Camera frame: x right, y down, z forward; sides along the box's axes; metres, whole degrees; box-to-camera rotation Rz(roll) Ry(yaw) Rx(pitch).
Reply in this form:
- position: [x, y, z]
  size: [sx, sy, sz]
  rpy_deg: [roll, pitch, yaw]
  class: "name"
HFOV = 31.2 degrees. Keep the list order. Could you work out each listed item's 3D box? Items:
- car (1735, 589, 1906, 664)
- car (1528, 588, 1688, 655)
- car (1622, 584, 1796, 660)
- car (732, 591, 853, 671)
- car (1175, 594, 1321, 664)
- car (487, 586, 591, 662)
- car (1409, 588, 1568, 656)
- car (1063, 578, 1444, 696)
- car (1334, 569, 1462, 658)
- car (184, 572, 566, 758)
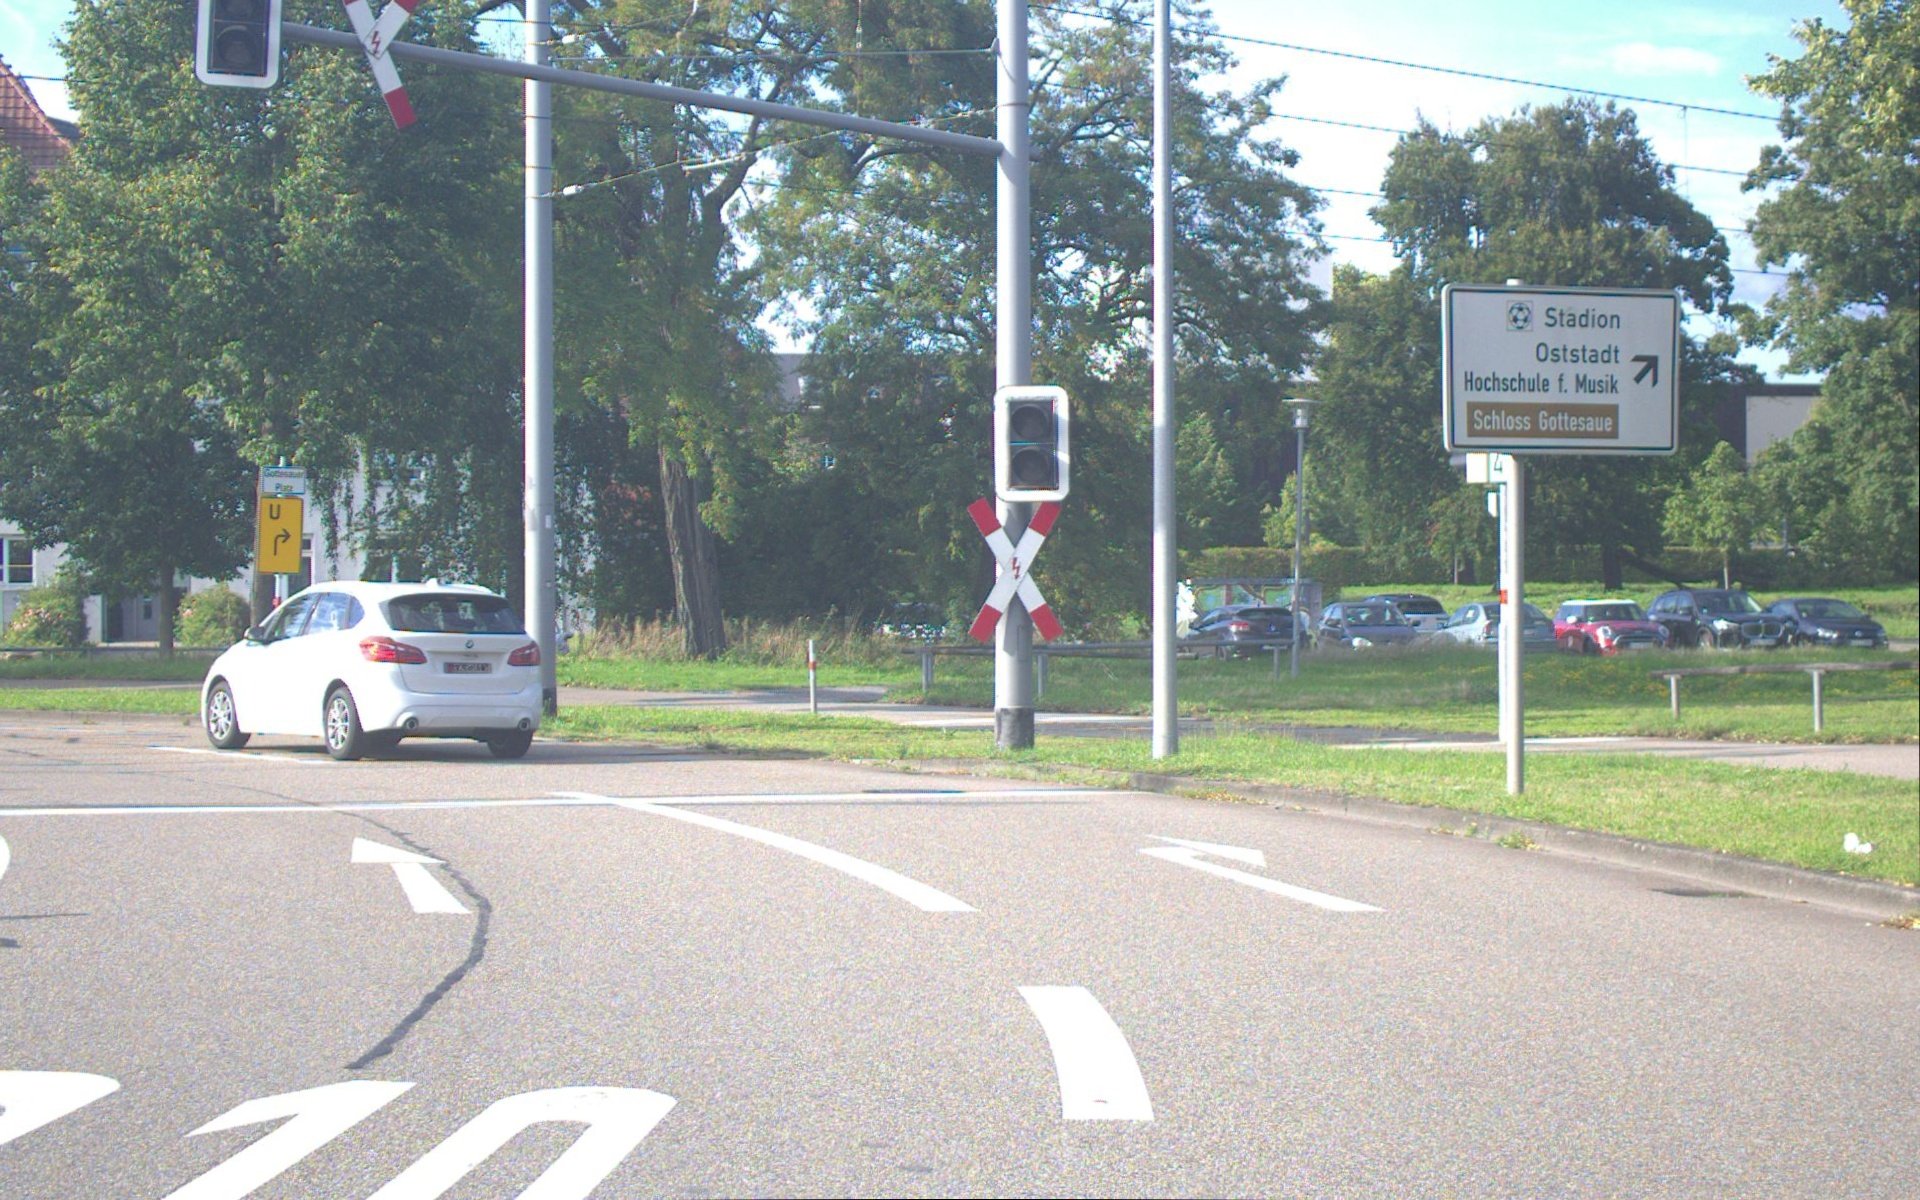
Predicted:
- position: [18.114, 0.548, 72.560]
  size: [1.854, 1.510, 4.470]
  rpy_deg: [0, 0, -9]
  class: "car"
- position: [13.461, 0.436, 71.700]
  size: [1.854, 1.358, 4.470]
  rpy_deg: [0, 0, -9]
  class: "car"
- position: [15.595, 0.445, 71.883]
  size: [1.854, 1.510, 4.946]
  rpy_deg: [0, 0, -9]
  class: "car"
- position: [-3.364, 0.593, 68.187]
  size: [1.854, 1.510, 4.734]
  rpy_deg: [0, 0, -9]
  class: "car"
- position: [5.811, 0.569, 70.002]
  size: [1.854, 1.355, 4.734]
  rpy_deg: [0, 0, -9]
  class: "car"
- position: [-8.387, 0.455, 68.201]
  size: [1.854, 1.435, 4.734]
  rpy_deg: [0, 0, -9]
  class: "car"
- position: [10.924, 0.445, 71.392]
  size: [1.854, 1.353, 4.835]
  rpy_deg: [0, 0, -9]
  class: "car"
- position: [3.743, 0.481, 44.334]
  size: [4.645, 1.426, 1.902]
  rpy_deg: [1, -1, -4]
  class: "car"
- position: [10.559, 0.359, 83.198]
  size: [1.871, 2.007, 4.811]
  rpy_deg: [2, -1, -7]
  class: "car"
- position: [-5.413, 0.563, 31.338]
  size: [1.850, 1.567, 4.454]
  rpy_deg: [1, -1, -32]
  class: "car"
